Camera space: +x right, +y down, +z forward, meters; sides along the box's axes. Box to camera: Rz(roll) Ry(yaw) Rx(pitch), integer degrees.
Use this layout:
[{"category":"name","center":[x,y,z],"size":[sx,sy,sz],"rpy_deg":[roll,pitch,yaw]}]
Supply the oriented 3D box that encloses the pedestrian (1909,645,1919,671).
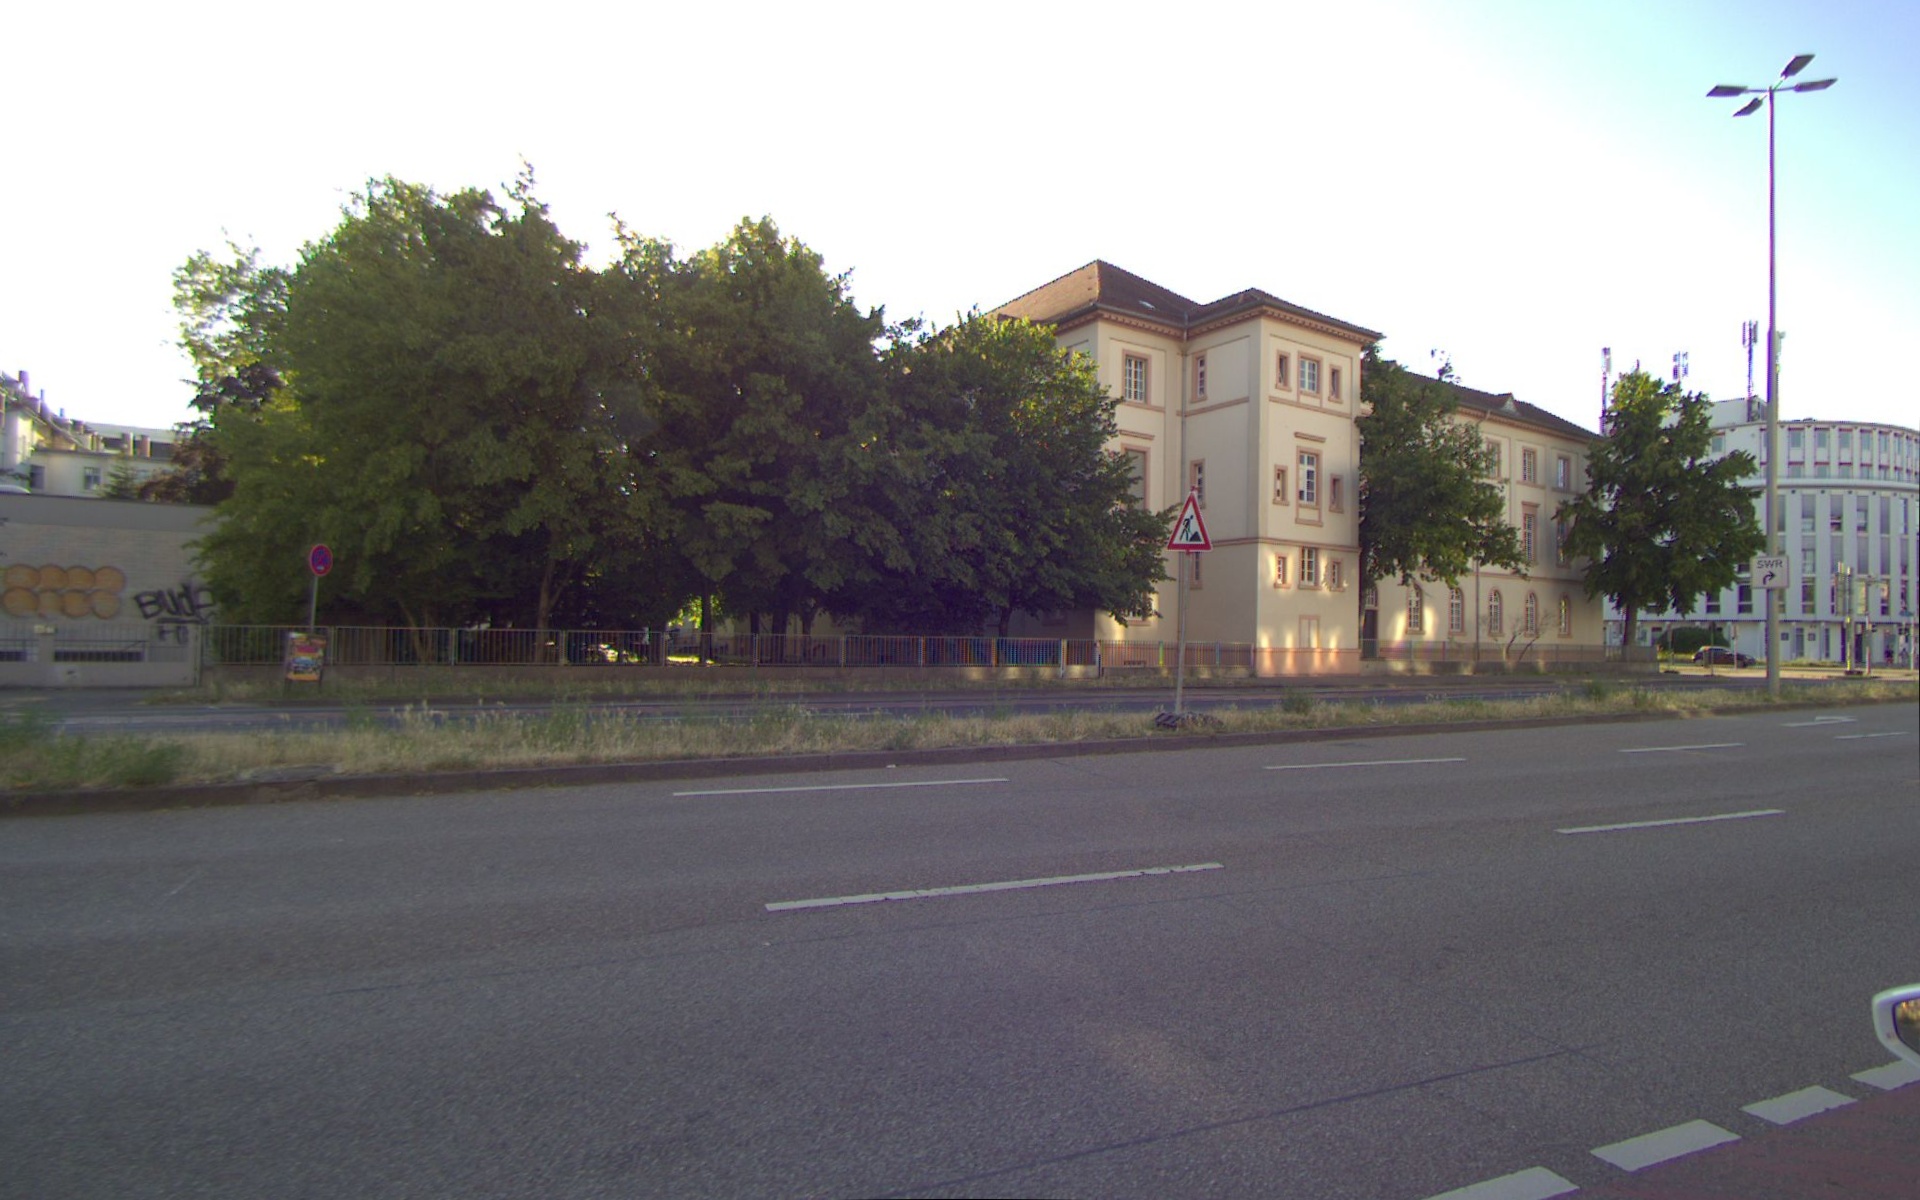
[{"category":"pedestrian","center":[70.503,4.280,74.022],"size":[0.771,1.893,0.655],"rpy_deg":[2,-2,-36]}]

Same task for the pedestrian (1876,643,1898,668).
[{"category":"pedestrian","center":[78.538,4.705,85.090],"size":[1.021,2.040,1.089],"rpy_deg":[2,-2,-23]}]

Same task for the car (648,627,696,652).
[{"category":"car","center":[-18.245,2.502,63.529],"size":[1.978,1.541,3.655],"rpy_deg":[2,-2,-32]}]

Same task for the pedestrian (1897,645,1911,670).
[{"category":"pedestrian","center":[70.752,4.283,75.281],"size":[0.813,1.866,0.751],"rpy_deg":[3,-2,-44]}]

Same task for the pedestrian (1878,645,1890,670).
[{"category":"pedestrian","center":[70.077,4.382,76.174],"size":[0.653,1.883,0.774],"rpy_deg":[-1,-2,44]}]

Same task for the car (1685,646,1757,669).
[{"category":"car","center":[54.801,4.119,72.411],"size":[1.846,1.549,3.782],"rpy_deg":[5,-5,-36]}]
